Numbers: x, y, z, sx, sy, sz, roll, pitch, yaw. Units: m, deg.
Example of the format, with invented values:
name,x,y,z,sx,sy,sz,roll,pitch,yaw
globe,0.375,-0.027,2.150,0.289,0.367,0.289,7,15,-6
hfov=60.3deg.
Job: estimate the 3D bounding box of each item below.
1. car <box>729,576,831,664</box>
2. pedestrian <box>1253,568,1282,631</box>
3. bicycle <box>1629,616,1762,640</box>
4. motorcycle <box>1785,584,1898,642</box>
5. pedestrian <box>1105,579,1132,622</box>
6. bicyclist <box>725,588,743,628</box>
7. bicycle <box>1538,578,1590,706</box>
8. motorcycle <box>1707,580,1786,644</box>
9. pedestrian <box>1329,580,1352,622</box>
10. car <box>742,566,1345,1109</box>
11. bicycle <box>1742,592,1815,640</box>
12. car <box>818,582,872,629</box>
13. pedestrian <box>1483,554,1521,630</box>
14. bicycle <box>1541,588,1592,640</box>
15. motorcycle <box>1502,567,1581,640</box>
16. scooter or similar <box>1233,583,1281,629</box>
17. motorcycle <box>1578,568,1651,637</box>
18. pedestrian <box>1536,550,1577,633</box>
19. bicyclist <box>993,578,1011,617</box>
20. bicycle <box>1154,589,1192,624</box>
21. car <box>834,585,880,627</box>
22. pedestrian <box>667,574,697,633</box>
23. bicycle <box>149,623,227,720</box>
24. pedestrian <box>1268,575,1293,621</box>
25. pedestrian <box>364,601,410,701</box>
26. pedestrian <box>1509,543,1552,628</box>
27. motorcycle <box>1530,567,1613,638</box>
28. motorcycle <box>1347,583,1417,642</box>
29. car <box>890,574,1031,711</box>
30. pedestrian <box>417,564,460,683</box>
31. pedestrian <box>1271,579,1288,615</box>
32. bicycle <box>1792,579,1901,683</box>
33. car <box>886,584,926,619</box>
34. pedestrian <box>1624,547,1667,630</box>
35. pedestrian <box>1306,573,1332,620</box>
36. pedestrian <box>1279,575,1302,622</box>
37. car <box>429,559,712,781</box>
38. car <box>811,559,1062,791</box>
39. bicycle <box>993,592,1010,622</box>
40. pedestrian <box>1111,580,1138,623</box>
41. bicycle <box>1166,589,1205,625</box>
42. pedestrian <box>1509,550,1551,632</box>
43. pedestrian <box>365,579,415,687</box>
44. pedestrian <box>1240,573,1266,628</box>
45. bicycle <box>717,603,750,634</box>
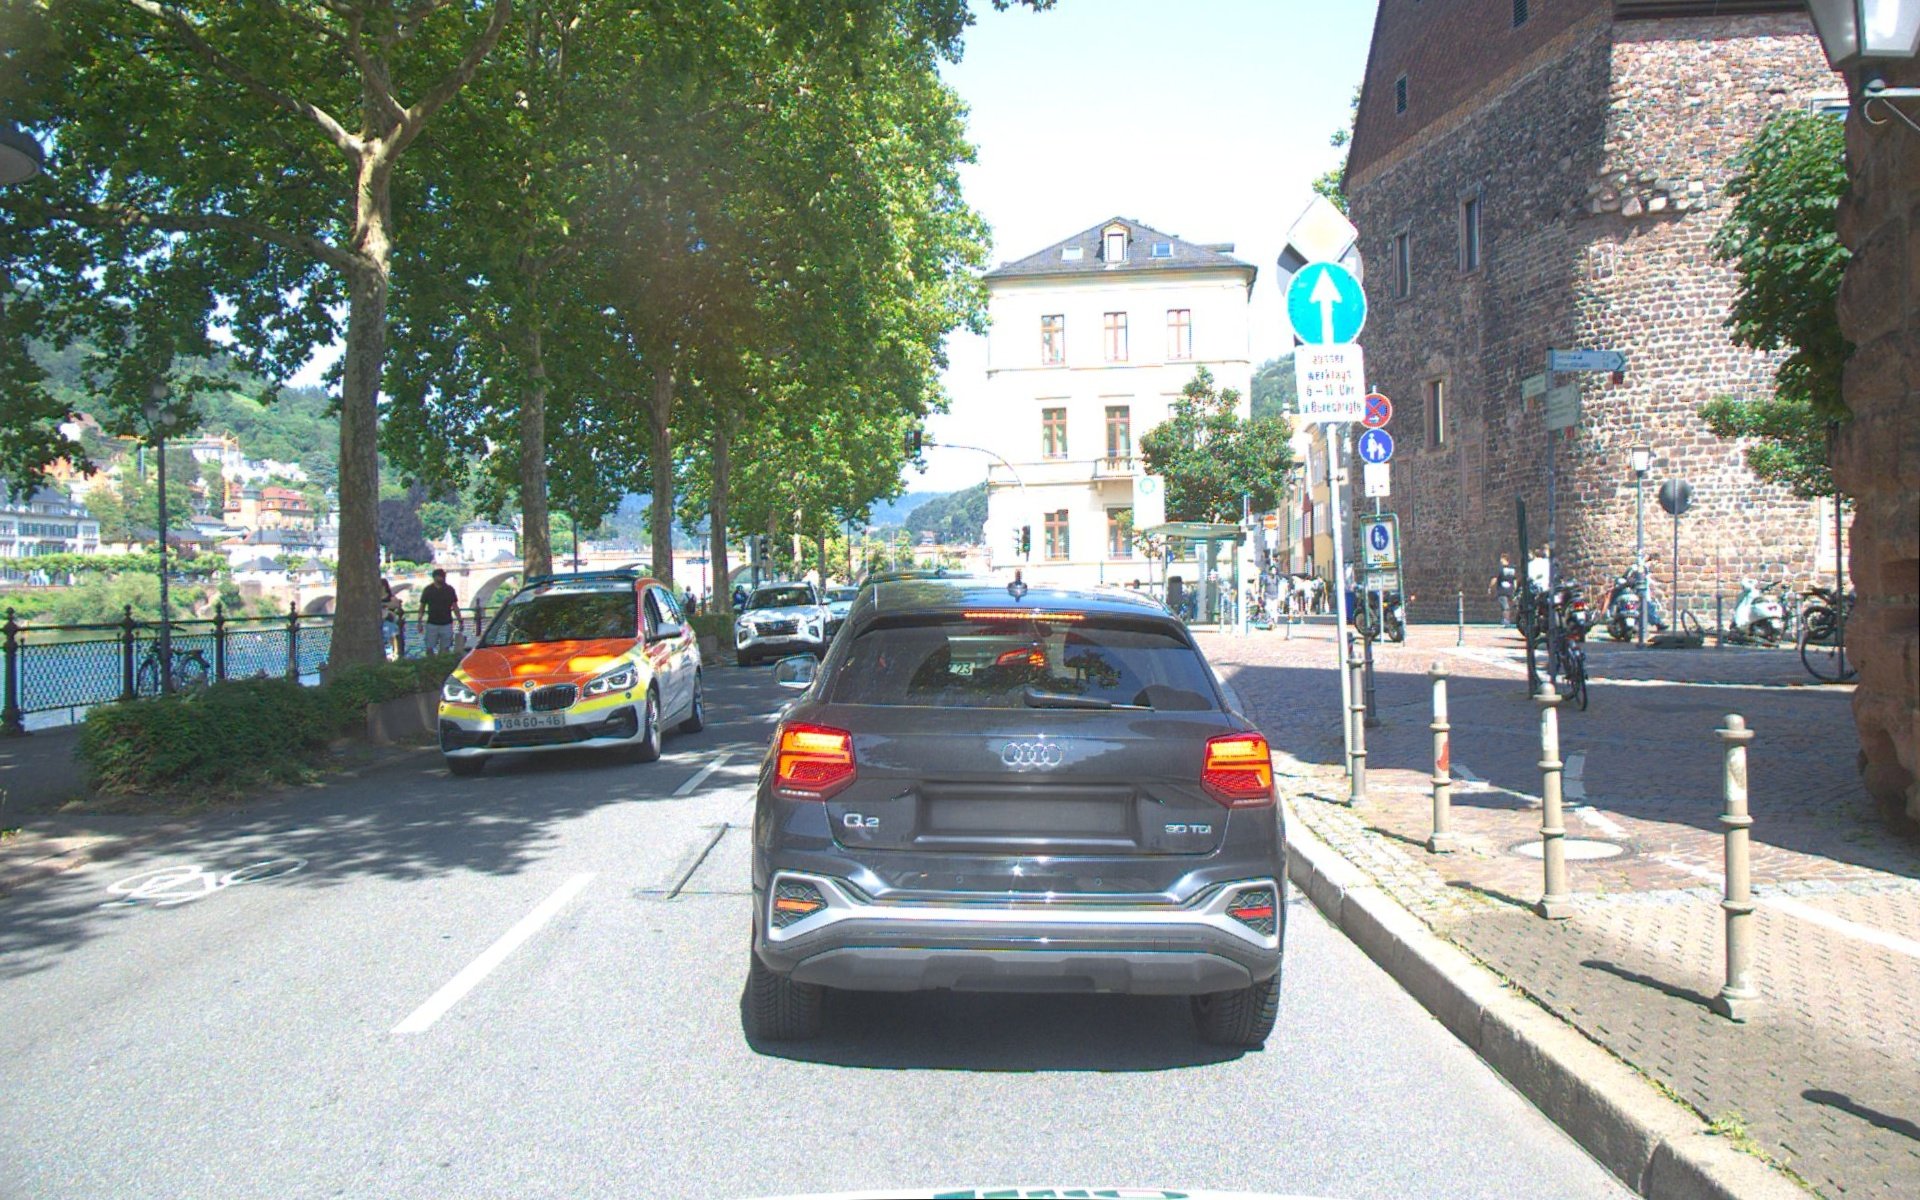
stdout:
name,x,y,z,sx,sy,sz,roll,pitch,yaw
car,-3.777,0.390,35.280,1.733,1.689,3.999,-3,0,-1
pedestrian,9.502,-0.027,51.126,0.732,1.923,0.752,1,-1,1
bicycle,12.300,0.470,27.717,1.887,0.388,0.918,0,-1,14
motorcycle,16.708,0.243,31.363,1.826,1.072,0.480,1,-1,7
pedestrian,4.694,0.012,48.944,0.651,1.253,0.640,1,-1,-7
bicyclist,-7.621,0.275,55.675,0.555,1.334,0.551,1,-1,-5
bicycle,6.157,0.399,16.889,0.189,1.225,1.771,0,1,10
motorcycle,14.008,0.213,29.503,0.496,1.092,1.839,1,0,-1
pedestrian,15.329,0.047,66.681,0.677,1.640,0.891,-2,0,25
car,0.216,0.665,6.574,1.707,1.535,3.646,1,1,-1
bicycle,15.130,0.290,30.618,0.346,0.835,1.926,1,1,-2
car,-4.381,0.177,63.427,1.703,1.599,4.091,-4,1,-1
pedestrian,13.267,-0.191,40.470,0.639,1.834,0.847,0,0,-2
bicycle,14.843,0.337,40.515,0.381,1.230,1.715,1,0,-9
motorcycle,10.576,0.062,30.166,0.642,1.288,2.199,0,0,-1
scooter or similar,7.089,0.151,39.530,1.067,1.084,0.323,1,-1,-3
motorcycle,12.235,0.052,30.966,0.535,1.257,2.030,1,0,-1
pedestrian,14.274,-0.195,39.591,0.655,1.954,0.821,1,-1,-2
bicyclist,1.590,-0.097,62.408,0.593,1.475,0.590,1,-1,-6
bicycle,6.390,0.203,49.641,1.166,1.033,0.178,1,-1,-20
car,-4.846,0.254,78.134,1.777,1.754,4.421,-6,1,-1
pedestrian,-9.664,0.120,57.537,0.891,2.049,0.586,1,-1,3
bicycle,-9.530,0.865,20.460,0.352,1.110,1.295,2,0,-2
pedestrian,14.335,-0.074,74.061,0.925,2.049,0.807,1,-1,-1
pedestrian,-8.054,0.709,23.260,0.469,1.386,0.417,1,0,3
pedestrian,14.044,-0.355,40.732,0.715,2.049,0.878,1,-1,-1
motorcycle,11.406,0.051,30.926,0.661,1.257,2.312,1,0,-1
motorcycle,7.695,0.211,30.244,0.555,1.030,2.489,-1,1,-2
car,-0.016,0.490,21.500,1.676,1.637,3.654,0,0,-1
pedestrian,-8.524,0.375,27.028,0.523,1.920,0.436,1,0,-1
pedestrian,13.921,-0.144,72.036,0.610,1.558,0.466,1,-1,-1
bicycle,10.608,0.342,19.843,0.437,1.182,1.731,-1,1,3
car,-2.929,0.115,90.477,1.952,1.838,4.000,1,0,1
pedestrian,14.227,-0.237,34.317,0.791,1.691,0.656,-1,0,24
pedestrian,15.740,-0.137,72.539,0.921,2.049,0.807,1,-1,-1
pedestrian,14.556,-0.080,72.812,0.822,2.049,0.738,1,-1,-1
car,-3.460,0.550,15.483,1.639,1.689,4.222,-3,0,-1
car,-0.192,0.522,13.460,1.756,1.623,3.398,1,0,-1
bicycle,1.562,0.252,62.371,0.428,1.105,1.675,1,0,-5
pedestrian,4.771,0.034,48.101,0.651,1.233,0.640,1,-1,-7
bicycle,6.681,0.218,49.031,1.184,1.053,0.178,1,-1,-20
pedestrian,13.478,-0.208,39.123,0.655,1.917,0.821,1,-1,-2
pedestrian,-9.221,0.524,26.759,0.589,1.715,0.583,-1,0,-2
pedestrian,7.544,0.014,42.604,0.546,1.409,0.588,1,-1,1
bicycle,-7.627,0.618,55.657,1.072,1.024,0.303,1,-1,-8
